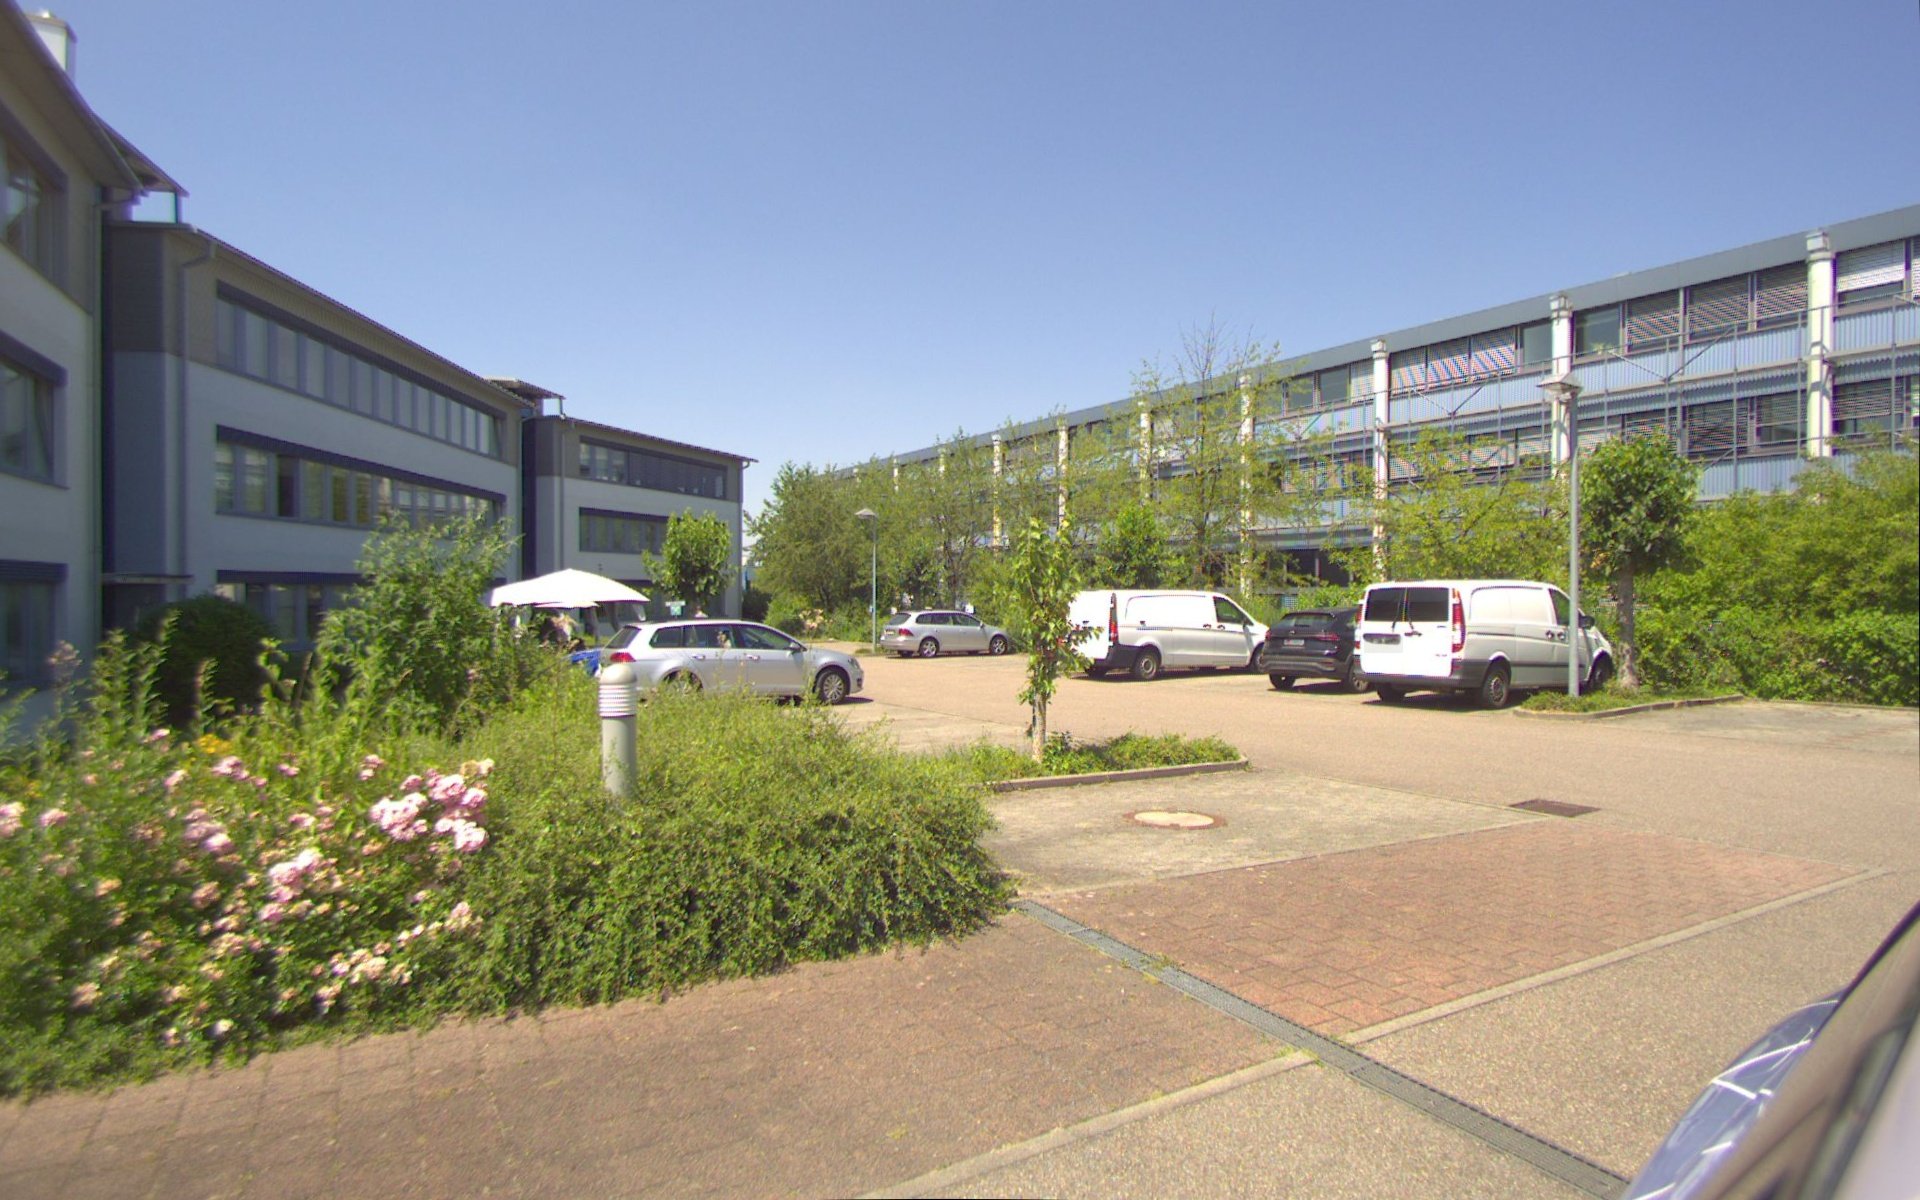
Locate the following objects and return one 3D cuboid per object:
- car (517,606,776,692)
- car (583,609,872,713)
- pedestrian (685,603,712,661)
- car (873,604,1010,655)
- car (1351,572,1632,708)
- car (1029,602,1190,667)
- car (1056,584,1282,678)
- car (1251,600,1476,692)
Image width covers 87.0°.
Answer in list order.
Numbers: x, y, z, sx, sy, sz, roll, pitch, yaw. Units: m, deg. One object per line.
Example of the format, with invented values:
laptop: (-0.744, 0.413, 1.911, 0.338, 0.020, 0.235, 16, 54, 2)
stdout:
car: (-6.070, 0.882, 19.753, 4.521, 1.513, 1.858, 1, -1, -32)
car: (-3.828, 0.921, 16.881, 4.340, 1.539, 1.858, 1, -1, -32)
pedestrian: (-8.170, 0.981, 31.648, 0.685, 1.779, 0.777, -1, 0, -4)
car: (-0.565, 0.889, 31.986, 4.002, 1.503, 1.741, 0, 0, -29)
car: (8.483, 0.545, 16.043, 4.585, 1.884, 1.869, 0, -1, -32)
car: (3.787, 0.811, 25.568, 3.842, 1.507, 1.626, 0, 0, -30)
car: (4.630, 0.605, 22.255, 4.836, 1.879, 1.858, 0, 0, -30)
car: (7.457, 0.774, 18.599, 4.115, 1.503, 1.740, 0, 0, -32)
